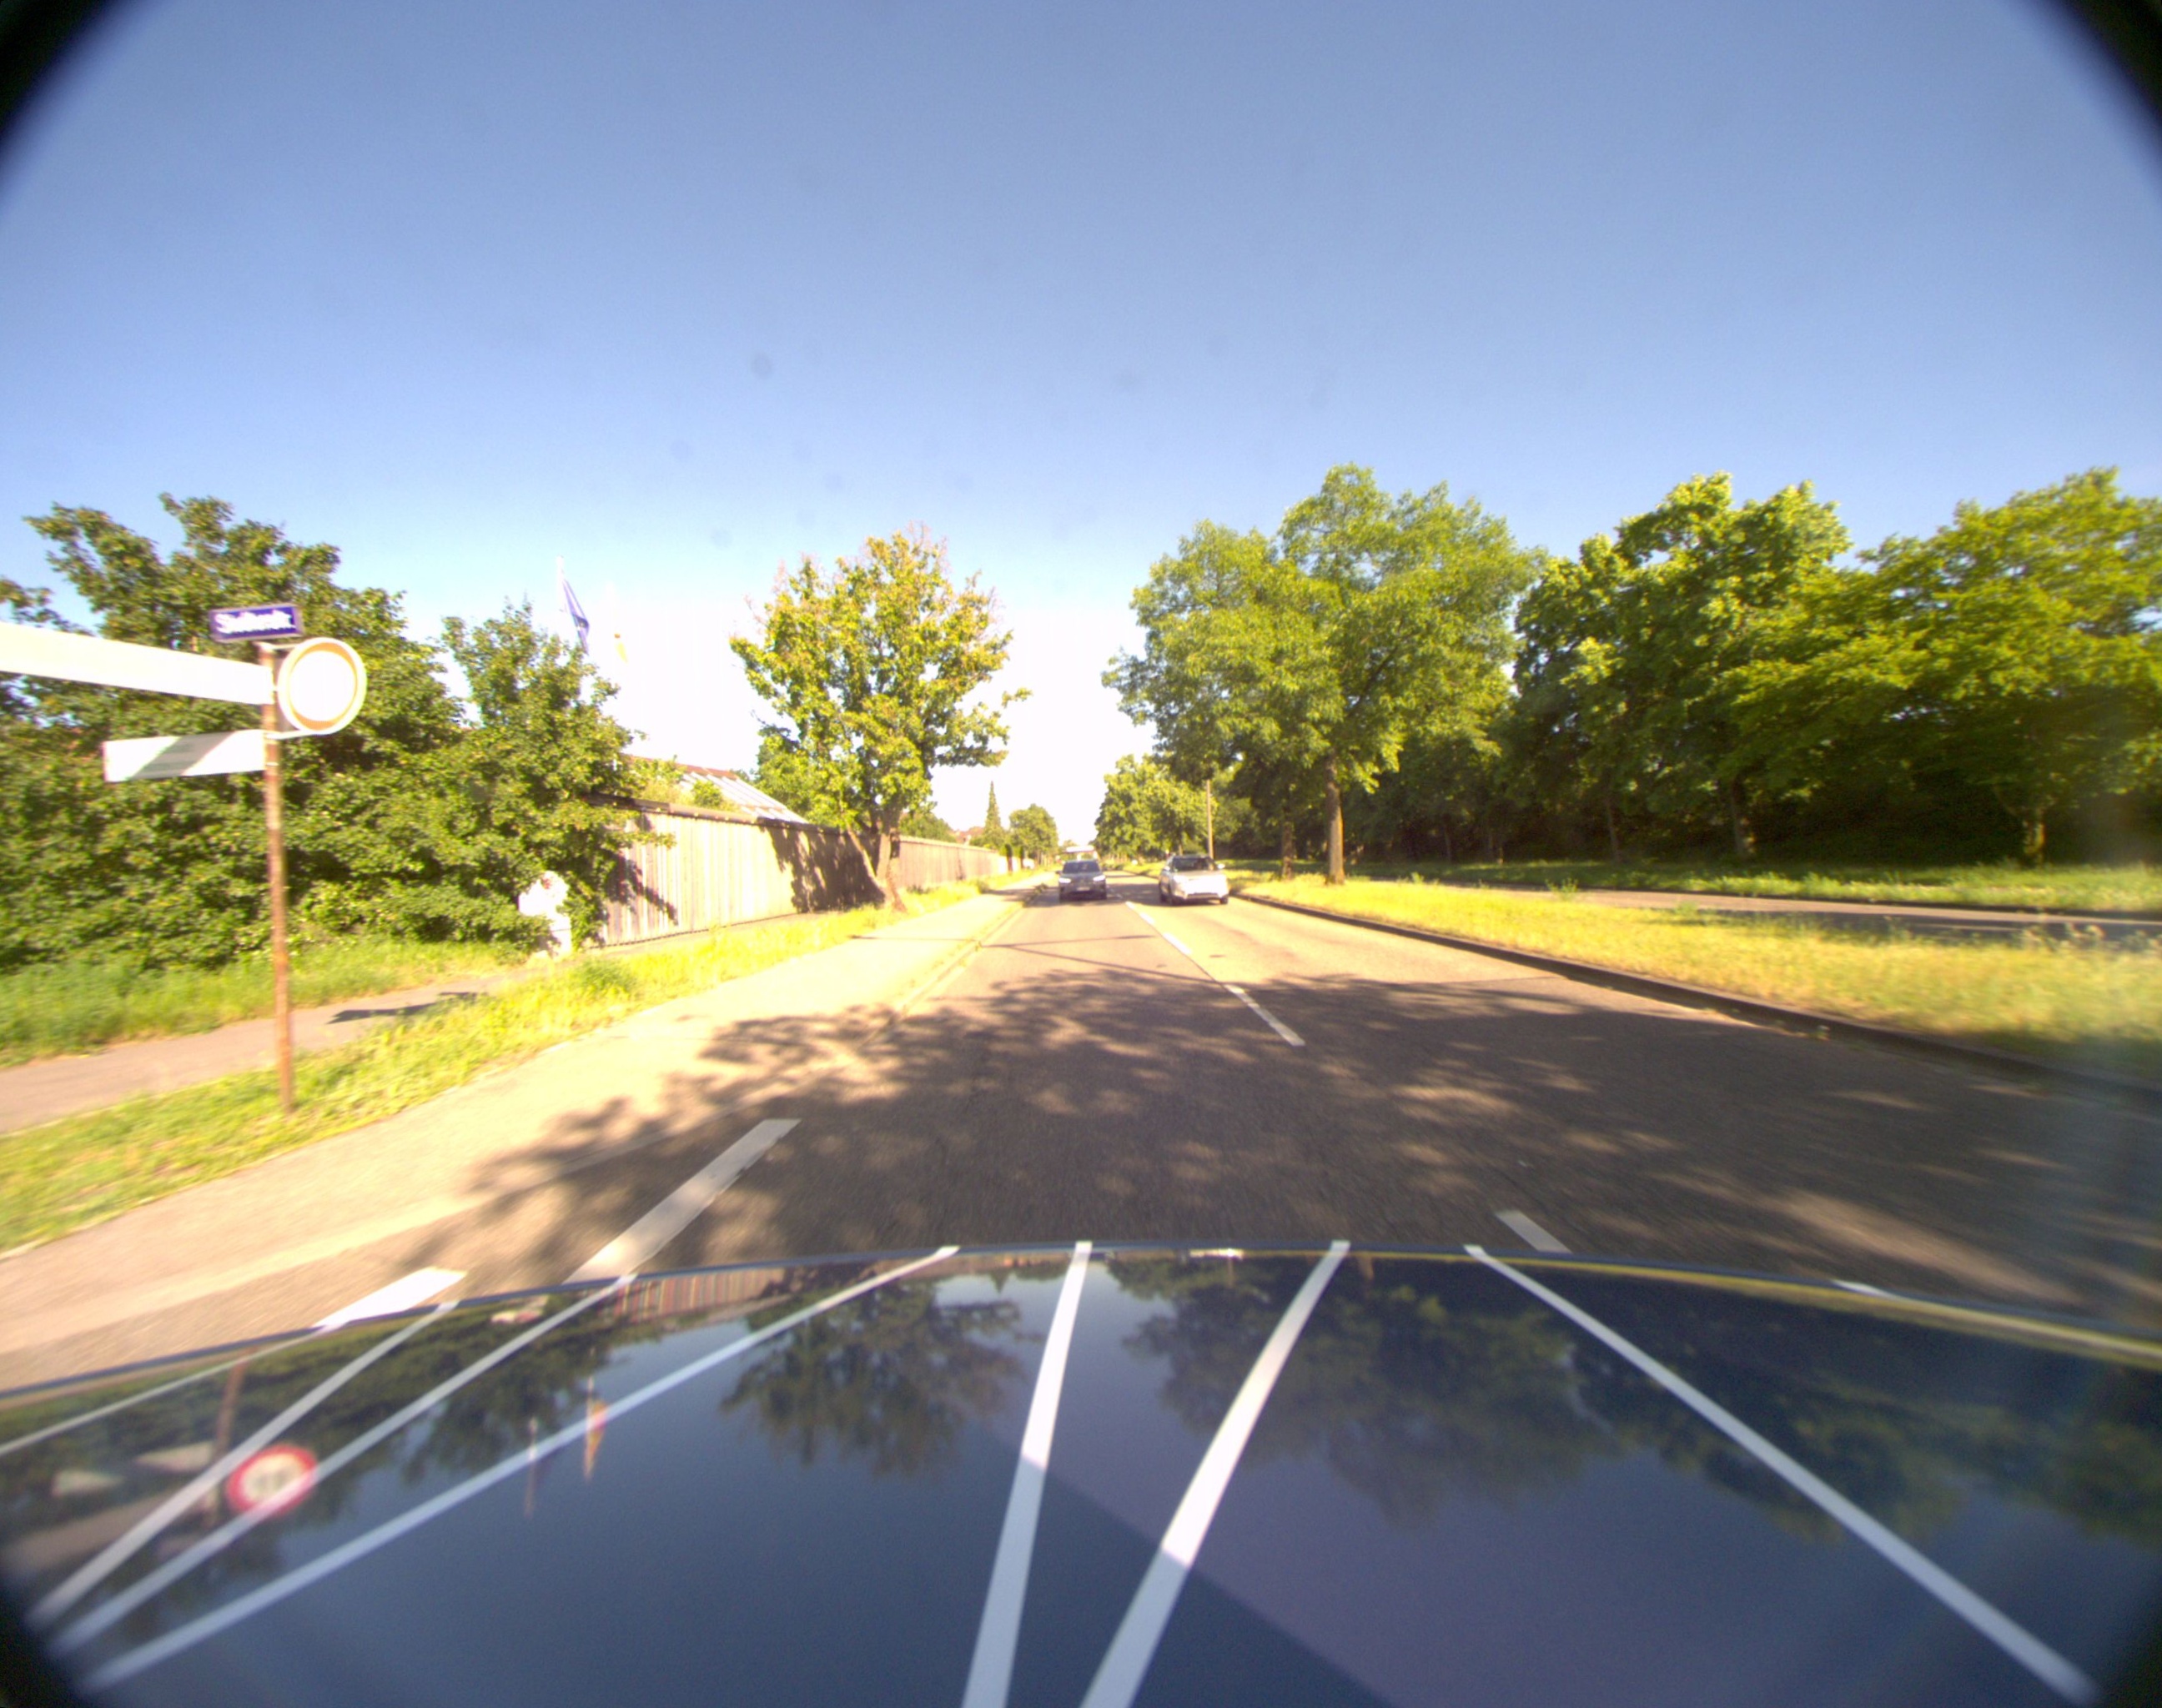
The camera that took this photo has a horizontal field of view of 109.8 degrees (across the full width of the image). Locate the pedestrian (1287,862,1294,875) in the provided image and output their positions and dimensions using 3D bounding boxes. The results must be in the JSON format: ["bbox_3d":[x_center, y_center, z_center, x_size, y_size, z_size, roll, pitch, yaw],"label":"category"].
[{"bbox_3d":[27.644,1.947,100.373,0.682,1.650,0.680,-6,1,12],"label":"pedestrian"}]

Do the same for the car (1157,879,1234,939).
[{"bbox_3d":[3.592,1.687,24.536,1.789,1.600,4.106,-2,0,0],"label":"car"}]

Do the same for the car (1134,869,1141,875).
[{"bbox_3d":[15.999,5.113,215.713,1.730,1.448,4.346,-2,-1,0],"label":"car"}]

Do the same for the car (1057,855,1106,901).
[{"bbox_3d":[0.016,0.918,30.947,1.766,1.606,4.297,-4,0,0],"label":"car"}]
